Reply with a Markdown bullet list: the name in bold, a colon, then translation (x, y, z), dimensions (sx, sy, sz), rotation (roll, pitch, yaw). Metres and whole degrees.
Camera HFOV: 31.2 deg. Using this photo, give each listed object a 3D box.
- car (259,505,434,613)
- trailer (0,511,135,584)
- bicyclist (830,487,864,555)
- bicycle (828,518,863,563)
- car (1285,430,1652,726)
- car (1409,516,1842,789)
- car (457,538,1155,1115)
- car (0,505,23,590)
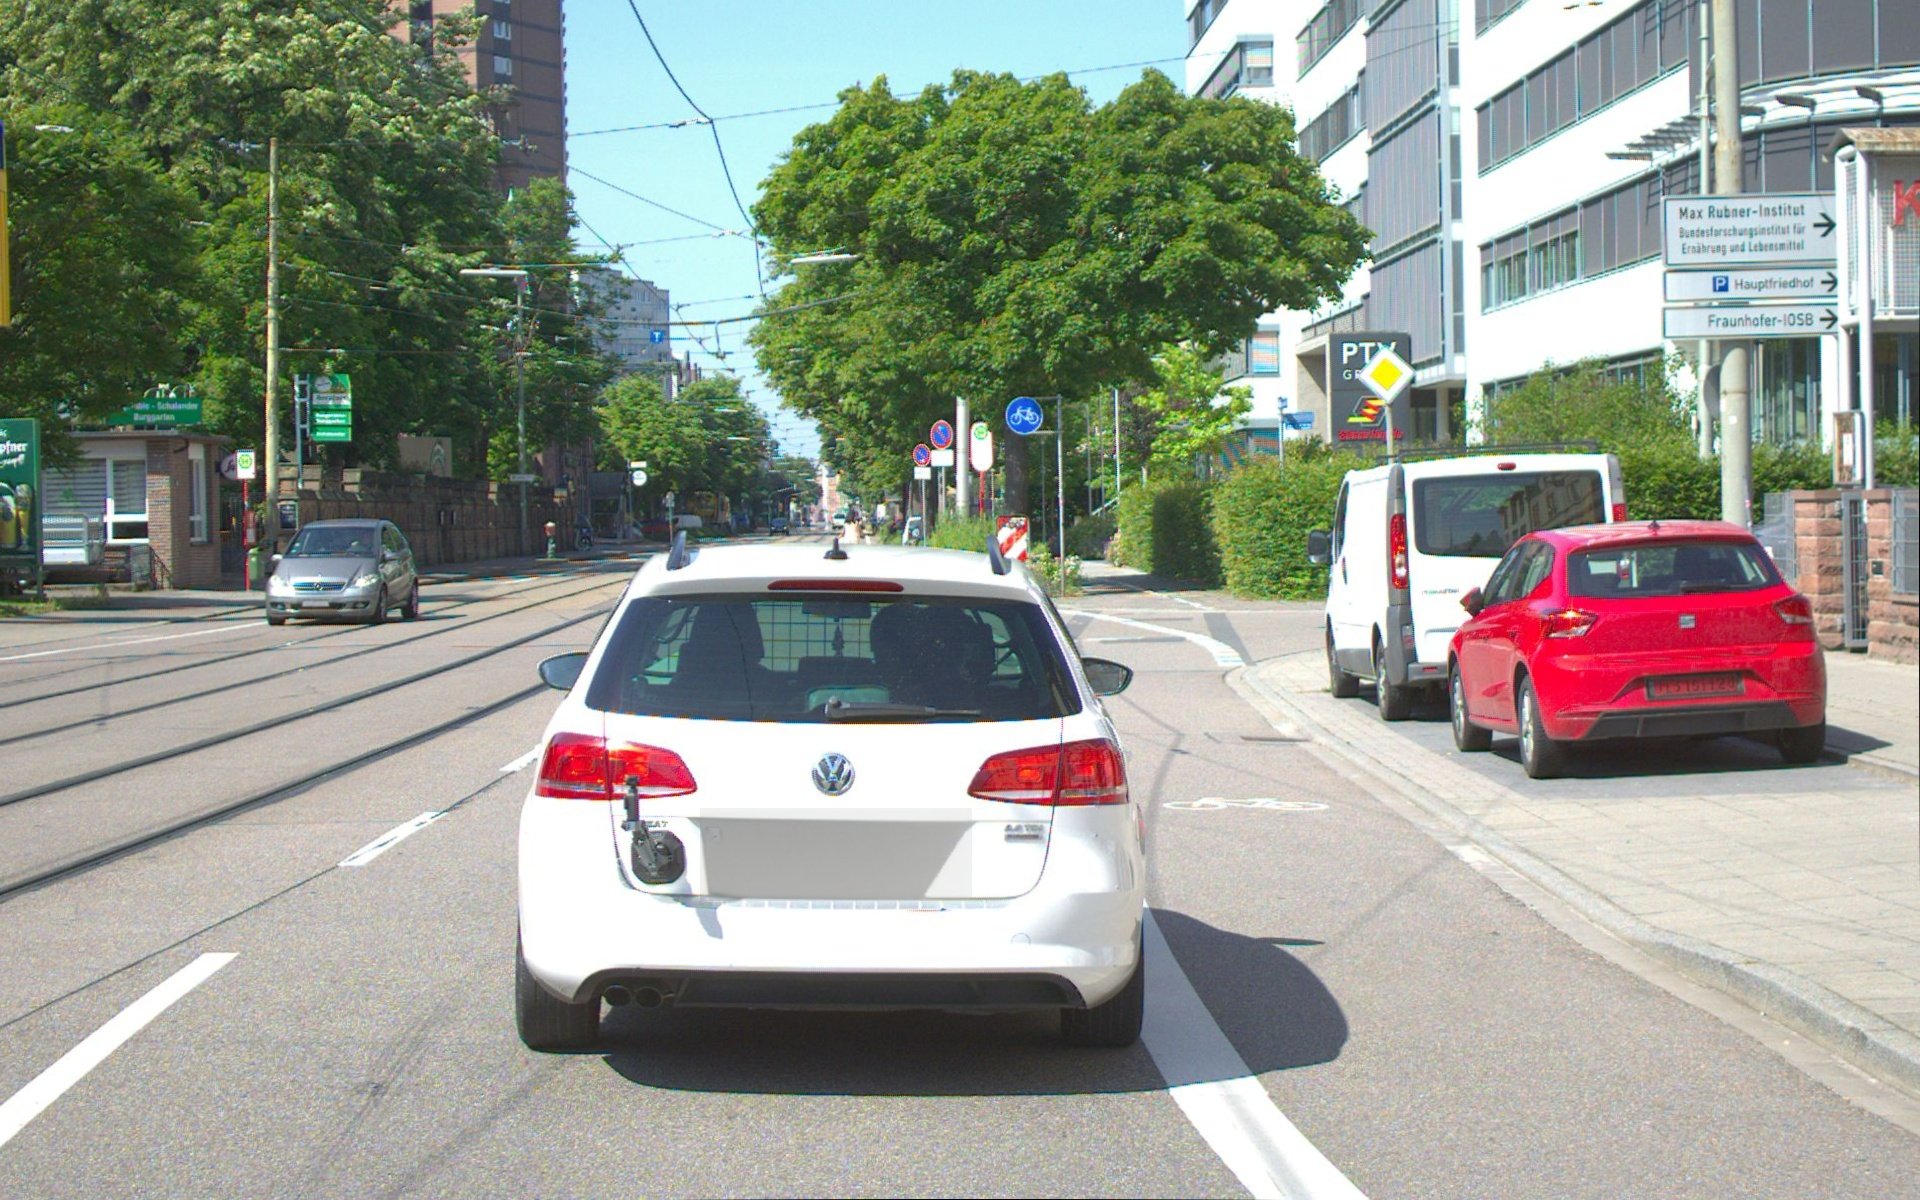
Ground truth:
- **car**: translation (-9.507, -0.650, 53.550), dimensions (1.746, 1.566, 3.891), rotation (-2, 1, 4)
- **trailer**: translation (-19.499, -1.127, 73.597), dimensions (3.215, 1.520, 1.778), rotation (-1, 1, 0)
- **bicyclist**: translation (-2.760, -1.934, 84.224), dimensions (0.785, 1.623, 0.738), rotation (1, 0, -1)
- **bicycle**: translation (-2.789, -1.464, 84.009), dimensions (0.811, 1.074, 2.012), rotation (-1, 1, -1)
- **car**: translation (3.926, -0.222, 27.466), dimensions (1.976, 2.047, 5.192), rotation (-3, 1, -1)
- **car**: translation (3.991, 0.237, 21.307), dimensions (1.722, 1.438, 4.313), rotation (-3, 1, -1)
- **car**: translation (-0.433, 0.534, 10.880), dimensions (1.753, 1.437, 4.413), rotation (0, 1, -1)
- **car**: translation (-20.402, -0.964, 65.468), dimensions (1.948, 1.619, 4.567), rotation (1, 2, 43)
